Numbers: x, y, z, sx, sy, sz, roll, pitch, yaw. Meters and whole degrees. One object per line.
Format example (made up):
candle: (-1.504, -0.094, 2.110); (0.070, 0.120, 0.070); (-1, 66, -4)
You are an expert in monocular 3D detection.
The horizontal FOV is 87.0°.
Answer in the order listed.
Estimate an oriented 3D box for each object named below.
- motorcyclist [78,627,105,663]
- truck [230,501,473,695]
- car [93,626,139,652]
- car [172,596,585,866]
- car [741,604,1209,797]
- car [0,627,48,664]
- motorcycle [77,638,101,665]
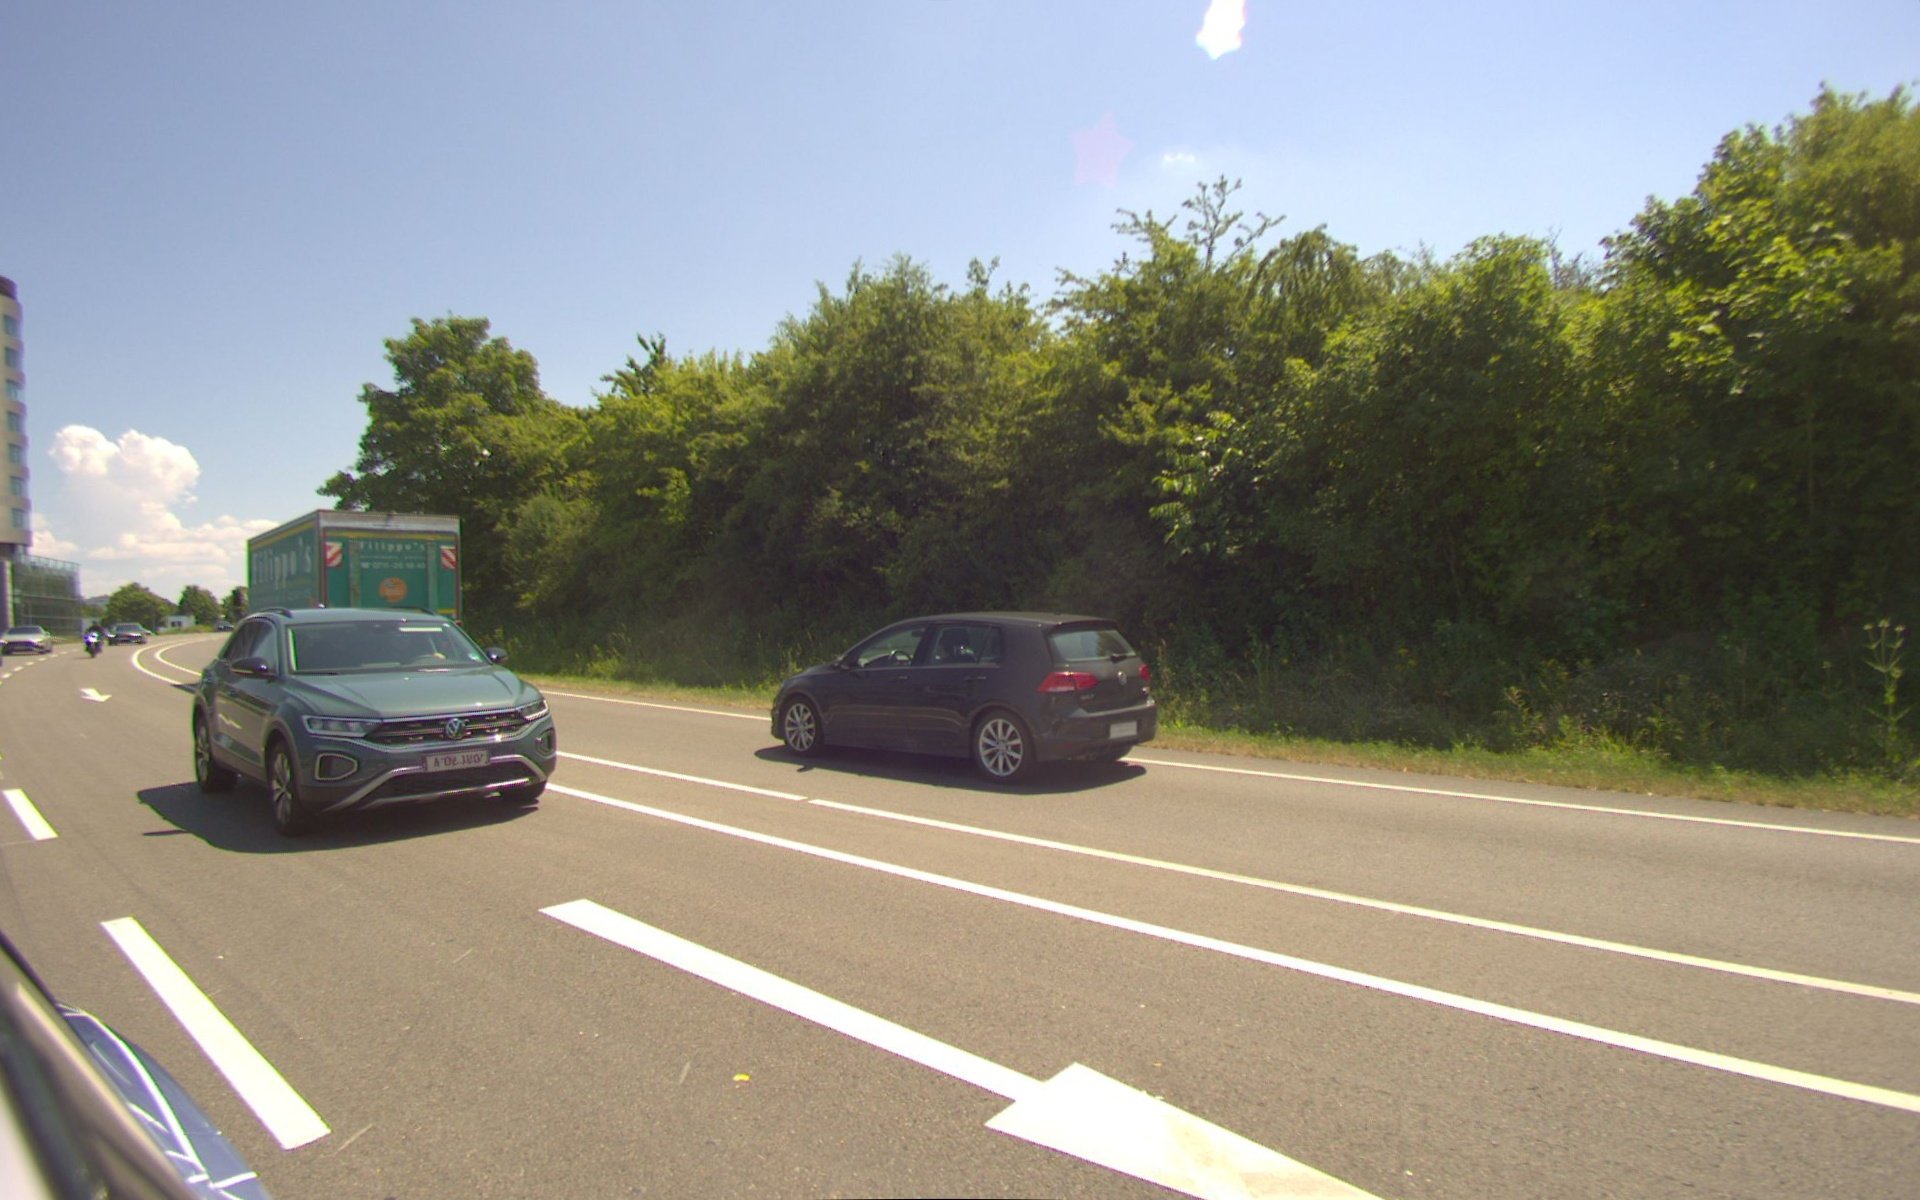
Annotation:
motorcyclist: (-37.467, 1.938, 43.673); (0.848, 1.500, 1.163); (1, -2, -42)
truck: (-14.294, 0.066, 23.265); (2.835, 3.601, 9.439); (0, -1, -43)
car: (-56.768, 2.599, 68.153); (2.084, 1.603, 4.461); (-1, 0, -36)
car: (-4.896, 0.831, 8.198); (4.393, 1.598, 1.814); (-2, -2, 45)
car: (-0.018, 0.808, 9.772); (4.326, 1.453, 1.858); (-2, -1, 40)
car: (-47.066, 2.293, 50.524); (1.905, 1.598, 4.187); (-4, -1, -38)
motorcycle: (-37.575, 2.210, 43.651); (0.723, 1.147, 2.075); (1, -2, -42)
